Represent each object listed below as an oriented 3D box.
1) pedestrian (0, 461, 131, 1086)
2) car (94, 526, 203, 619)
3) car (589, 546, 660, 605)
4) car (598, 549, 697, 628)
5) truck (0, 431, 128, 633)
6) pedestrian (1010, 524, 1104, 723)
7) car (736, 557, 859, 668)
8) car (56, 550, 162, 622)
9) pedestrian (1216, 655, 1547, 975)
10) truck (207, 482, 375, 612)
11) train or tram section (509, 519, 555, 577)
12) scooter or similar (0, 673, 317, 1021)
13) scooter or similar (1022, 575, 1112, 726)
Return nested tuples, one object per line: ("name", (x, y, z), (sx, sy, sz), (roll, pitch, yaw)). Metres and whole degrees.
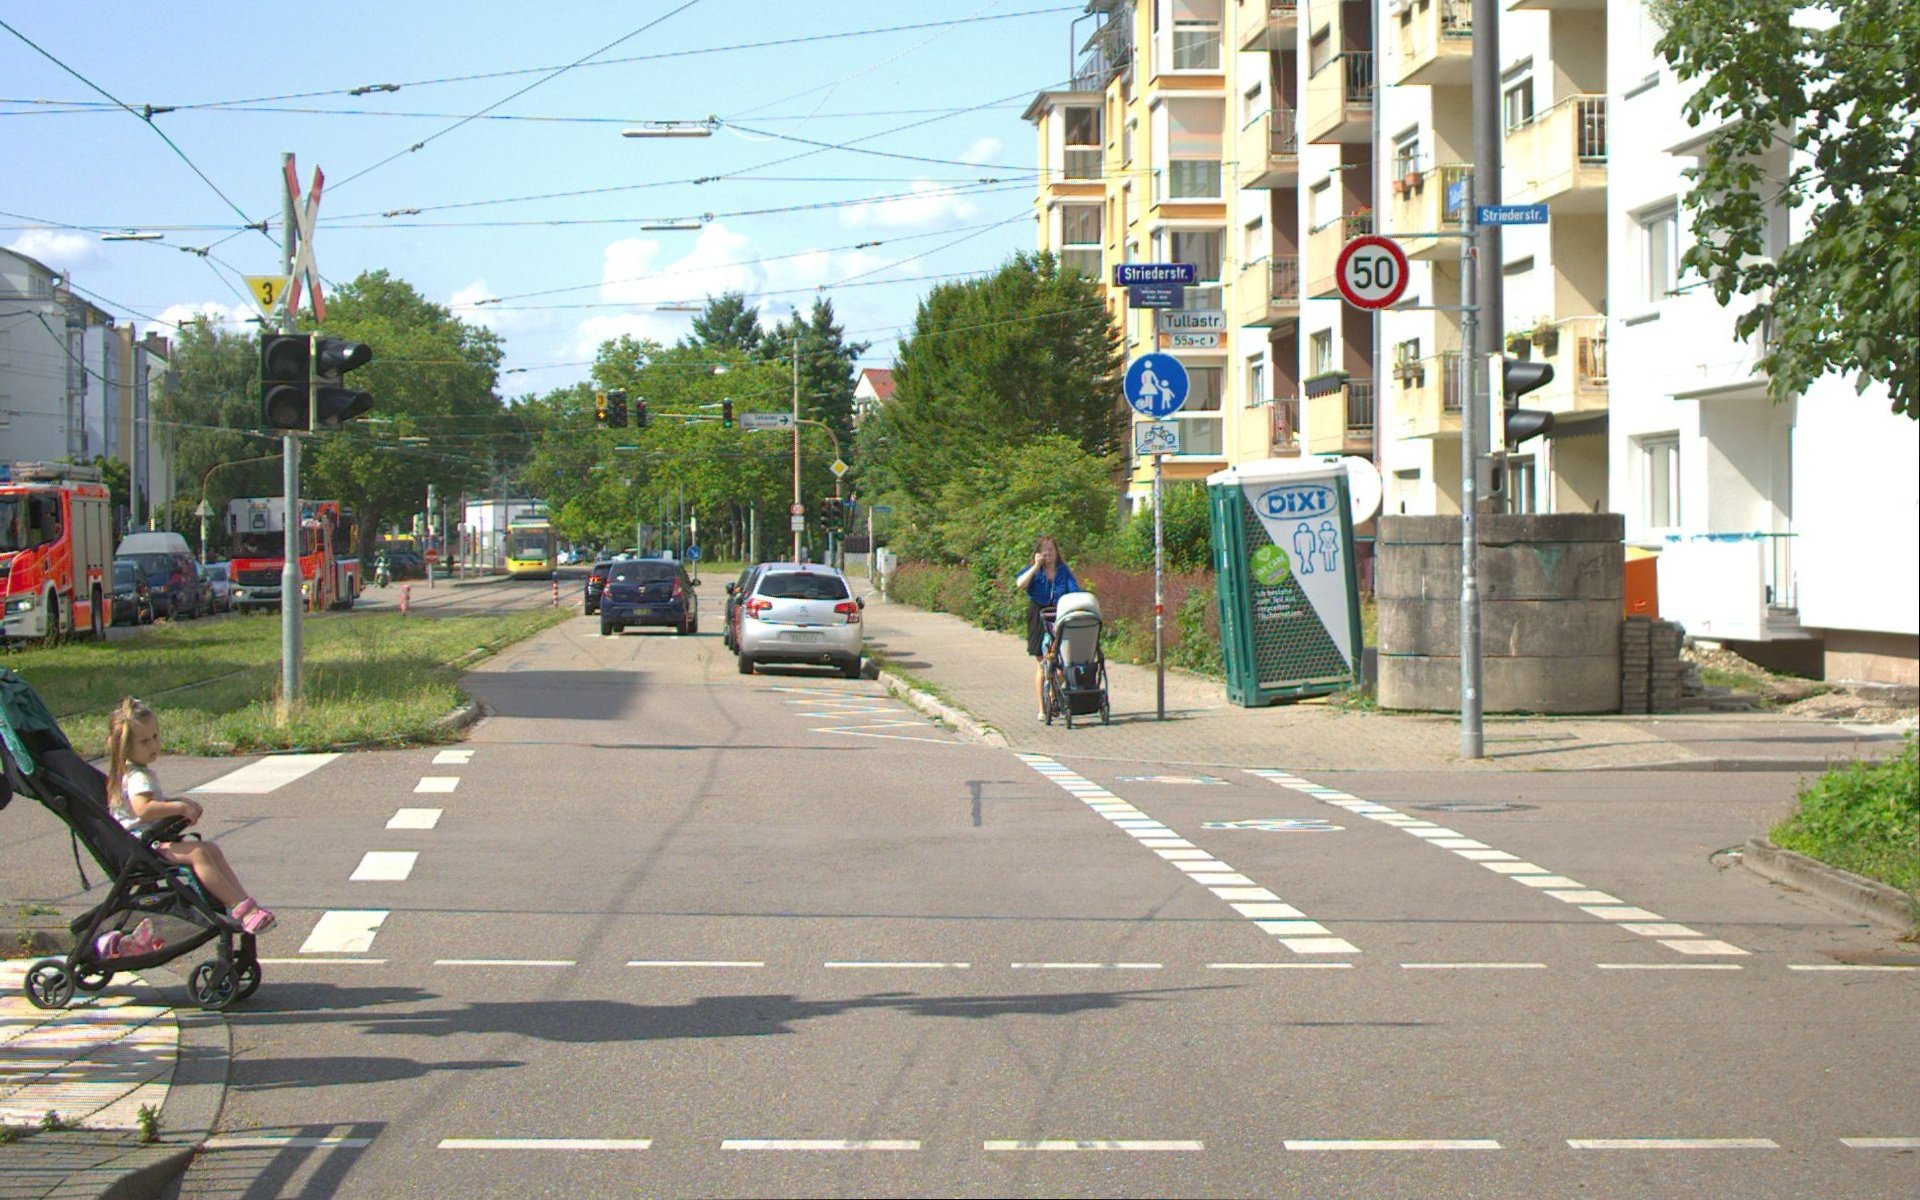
("pedestrian", (-2.846, 0.462, 9.417), (0.845, 1.662, 0.798), (-1, 0, -38))
("car", (-21.589, -0.725, 91.649), (1.967, 2.362, 5.202), (1, 0, -4))
("car", (-9.040, -0.662, 92.894), (1.743, 1.502, 4.001), (1, 0, -4))
("car", (-6.190, -0.238, 68.371), (1.743, 1.502, 4.000), (1, 0, -3))
("truck", (-16.112, -1.116, 58.294), (2.596, 3.175, 8.384), (1, 0, -5))
("pedestrian", (0.894, 0.209, 31.929), (0.701, 1.783, 1.030), (-3, 1, -2))
("car", (-2.288, 0.153, 48.273), (1.622, 1.460, 3.511), (1, 0, -3))
("car", (-21.058, -0.356, 85.215), (1.909, 1.705, 4.001), (1, 0, -5))
("pedestrian", (2.967, 1.470, 25.010), (1.993, 2.007, 4.000), (1, 0, 2))
("truck", (-19.048, -1.467, 98.495), (2.666, 3.459, 10.168), (1, 0, 1))
("train or tram section", (-23.206, -2.847, 186.560), (2.258, 3.058, 8.135), (-1, 1, -6))
("scooter or similar", (-2.679, 0.781, 11.090), (1.100, 1.052, 0.650), (1, 0, -3))
("scooter or similar", (0.963, 0.444, 31.080), (0.662, 1.299, 0.868), (-4, 1, -4))
